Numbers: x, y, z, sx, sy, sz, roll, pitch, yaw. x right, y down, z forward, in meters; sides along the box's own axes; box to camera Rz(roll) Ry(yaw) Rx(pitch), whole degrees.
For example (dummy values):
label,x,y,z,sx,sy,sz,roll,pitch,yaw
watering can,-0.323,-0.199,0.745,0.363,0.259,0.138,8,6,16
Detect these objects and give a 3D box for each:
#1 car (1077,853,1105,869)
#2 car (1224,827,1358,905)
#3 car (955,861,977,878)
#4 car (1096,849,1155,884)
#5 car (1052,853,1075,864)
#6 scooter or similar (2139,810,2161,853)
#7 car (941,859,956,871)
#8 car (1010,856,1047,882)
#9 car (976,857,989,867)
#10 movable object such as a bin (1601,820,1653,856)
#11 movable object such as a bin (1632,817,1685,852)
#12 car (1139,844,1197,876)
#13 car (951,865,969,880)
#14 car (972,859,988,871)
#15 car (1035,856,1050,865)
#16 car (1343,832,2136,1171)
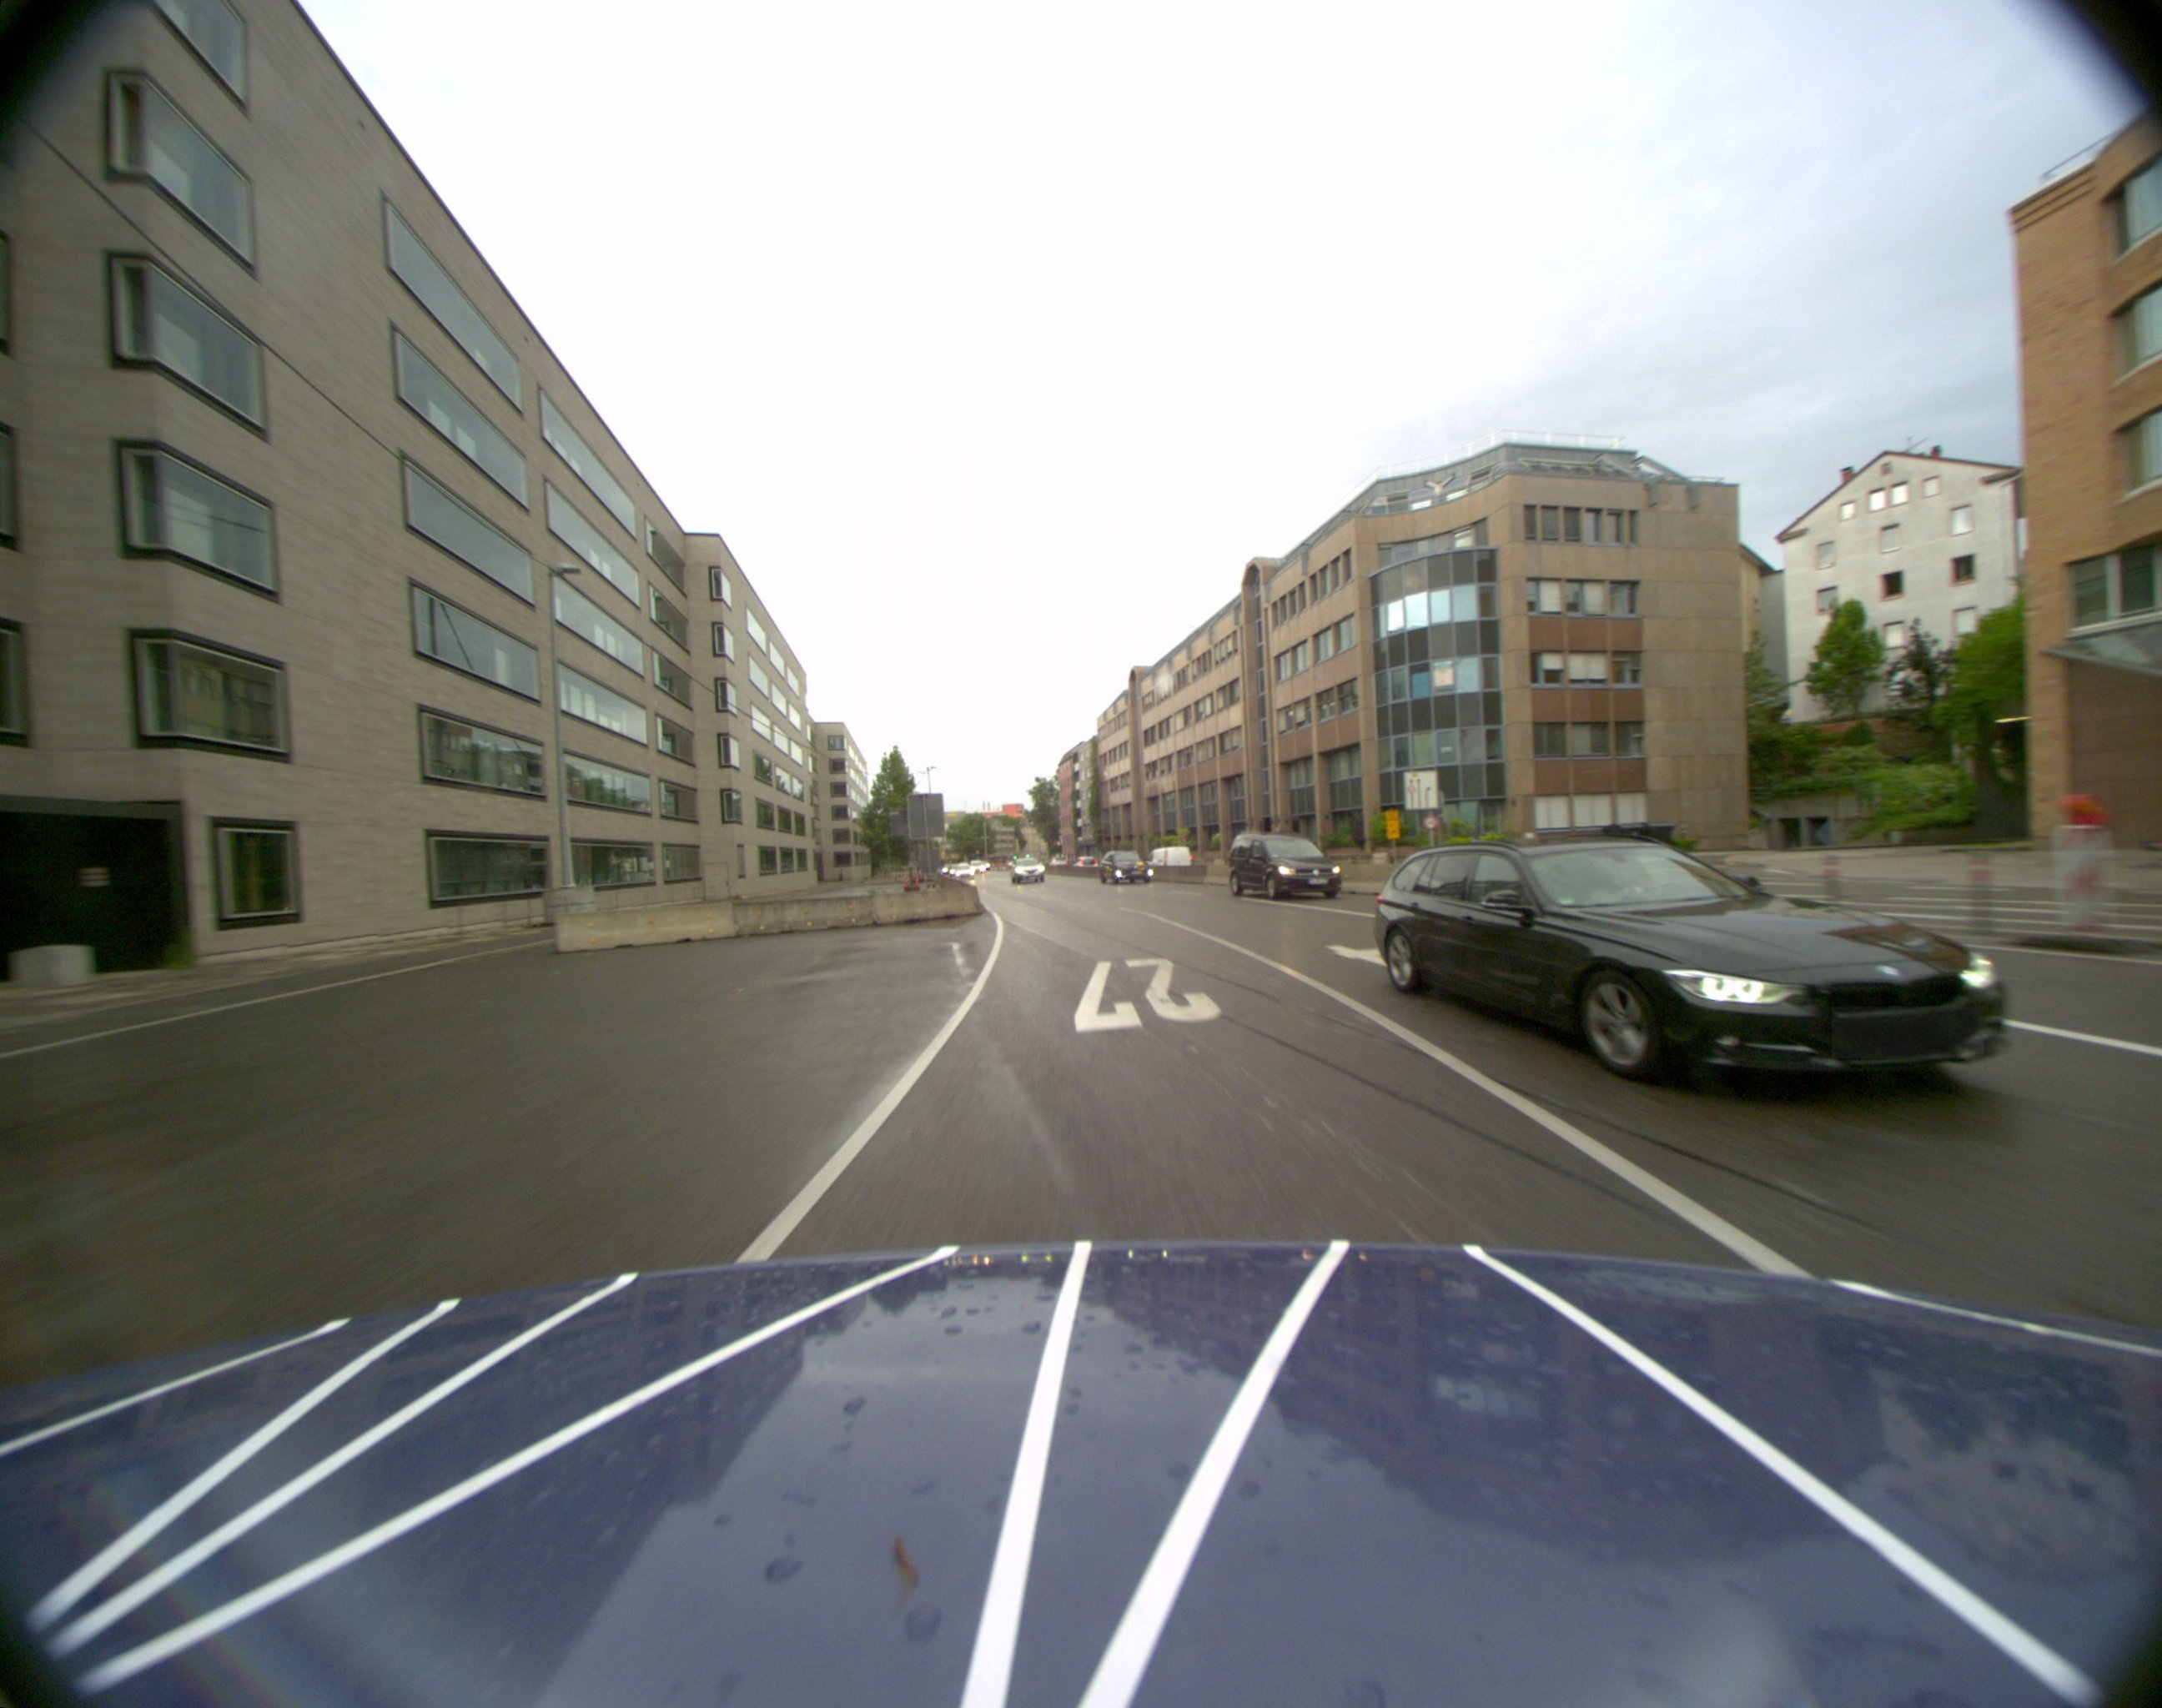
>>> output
label,x,y,z,sx,sy,sz,roll,pitch,yaw
car,0.805,0.581,64.042,1.618,1.224,3.723,-3,0,-11
car,5.520,0.304,20.585,1.800,1.790,4.247,-3,0,-9
car,-11.019,1.447,72.464,1.774,1.524,4.652,-3,0,-12
car,2.148,0.599,37.890,1.774,1.524,4.352,-3,0,-12
car,-2.235,0.537,95.343,1.851,1.262,4.544,-3,0,-15
scooter or similar,27.001,-0.562,18.687,0.450,1.056,1.043,-3,0,-22
car,-17.964,1.504,103.048,1.774,1.524,4.652,-3,0,-12
car,-3.536,0.991,50.691,1.774,1.524,4.652,-3,0,-12
car,-16.210,1.392,125.142,1.774,1.524,4.652,-3,0,-12
movable object such as a bin,23.944,-0.680,33.341,1.246,1.471,1.350,-3,0,-4
movable object such as a bin,25.521,-0.842,33.594,1.246,1.471,1.350,-3,0,-4
car,5.185,0.366,45.839,1.893,1.773,4.872,-3,0,-13
car,-13.816,2.130,86.850,1.774,1.524,4.652,-3,0,-12
car,-13.775,1.521,103.117,1.774,1.524,4.652,-3,0,-12
car,-5.964,0.976,116.478,1.725,1.312,3.693,-3,0,-12
car,3.842,0.670,5.791,1.773,1.435,4.654,-3,0,-4
